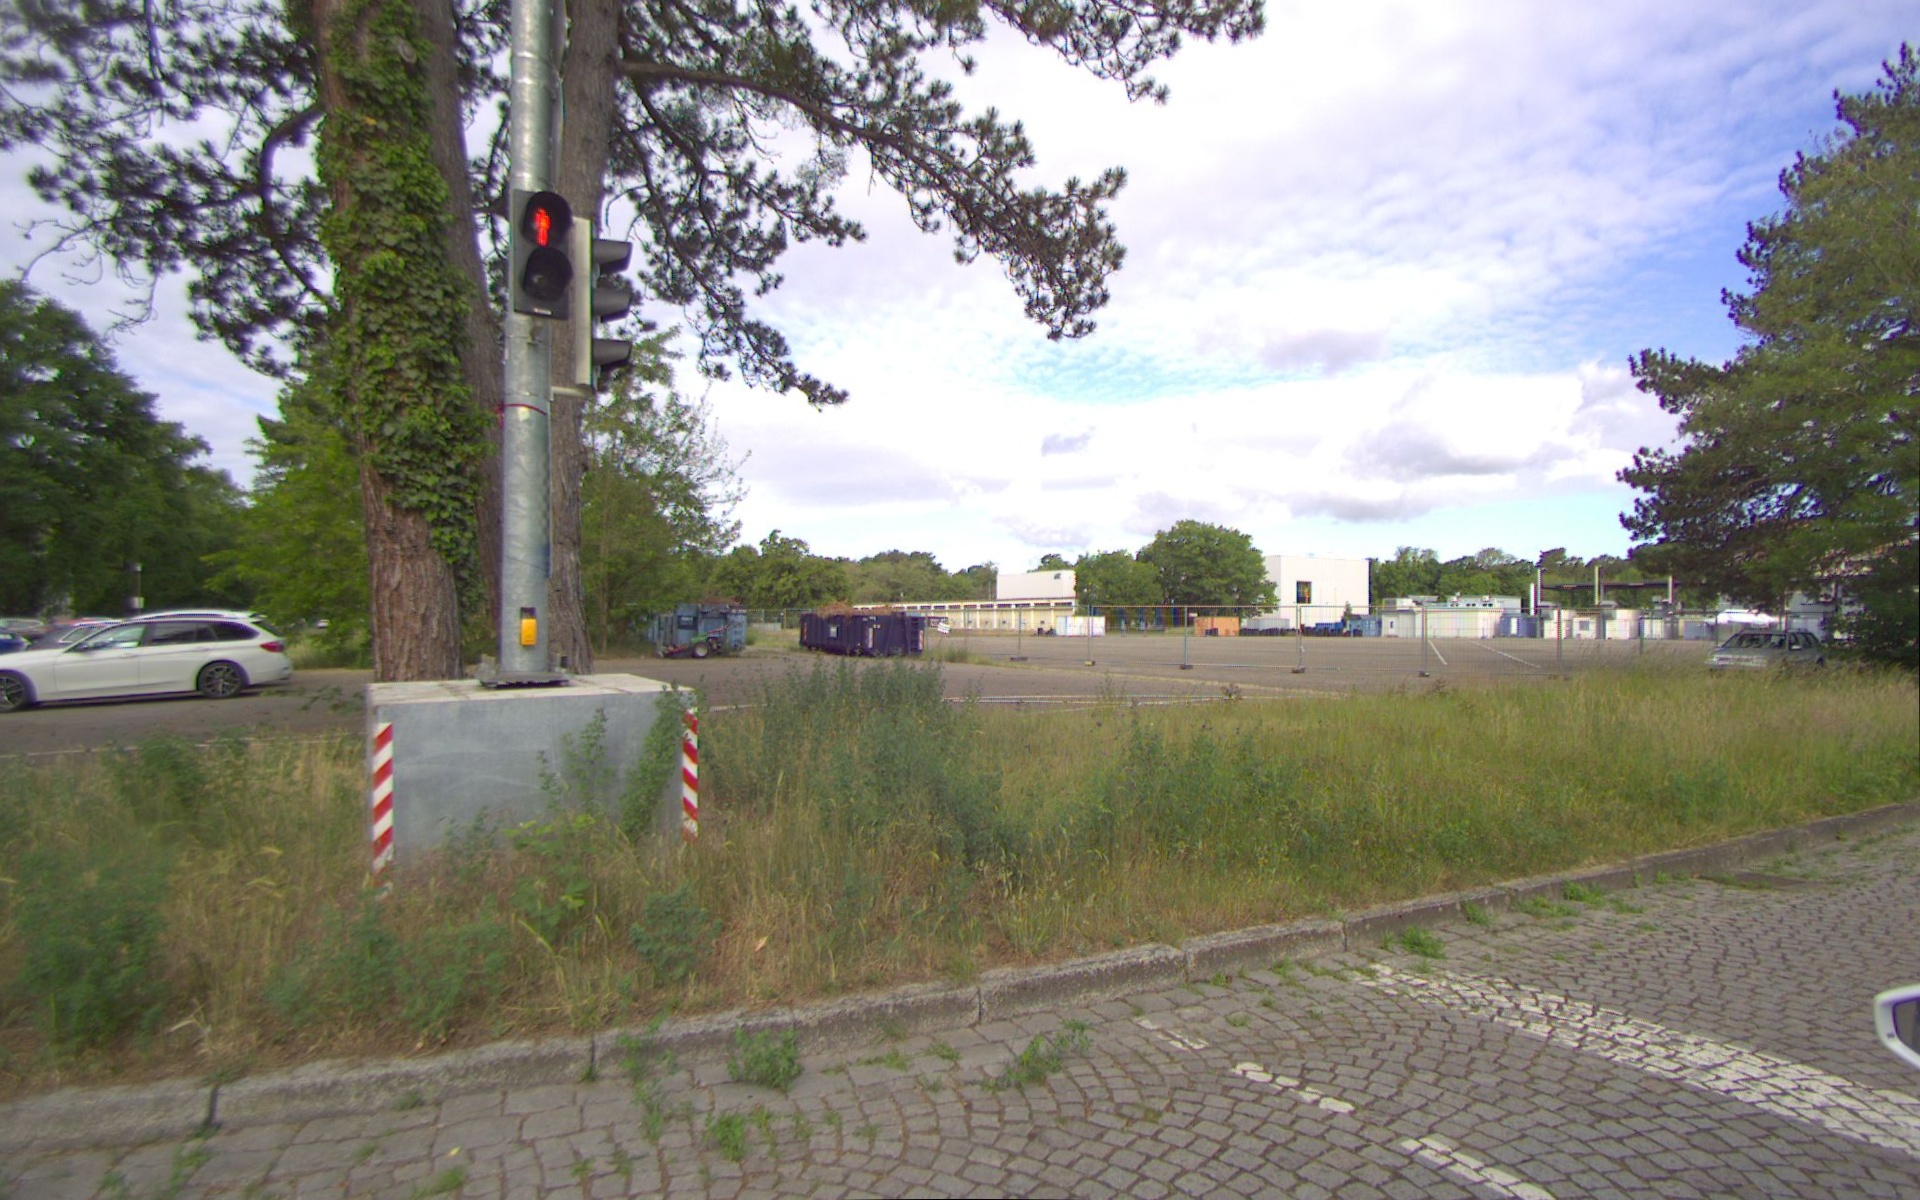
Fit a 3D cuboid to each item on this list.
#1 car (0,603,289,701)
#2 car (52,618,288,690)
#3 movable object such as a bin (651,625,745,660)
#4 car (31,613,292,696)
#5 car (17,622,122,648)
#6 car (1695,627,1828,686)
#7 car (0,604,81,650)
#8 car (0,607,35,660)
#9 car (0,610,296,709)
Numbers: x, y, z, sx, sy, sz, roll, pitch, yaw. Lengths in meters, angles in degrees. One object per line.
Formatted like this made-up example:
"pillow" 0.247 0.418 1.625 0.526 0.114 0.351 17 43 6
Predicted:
"car" -15.794 0.934 19.742 4.281 1.605 1.810 -2 0 -34
"car" -18.703 1.240 24.069 4.281 1.587 1.782 1 -1 -34
"movable object such as a bin" -8.221 1.316 31.585 2.632 1.062 1.170 1 -2 -36
"car" -17.297 1.116 22.082 4.281 1.522 1.843 -2 0 -34
"car" -48.460 1.917 54.772 3.952 1.372 1.678 1 -1 -30
"car" 22.123 1.507 27.689 3.954 1.507 1.605 1 -1 -31
"car" -43.157 1.227 46.086 3.958 2.040 1.853 1 -1 -34
"car" -38.770 1.304 38.348 4.737 2.007 1.982 0 -1 -31
"car" -14.373 0.978 17.447 4.690 1.461 1.799 -1 0 -34
